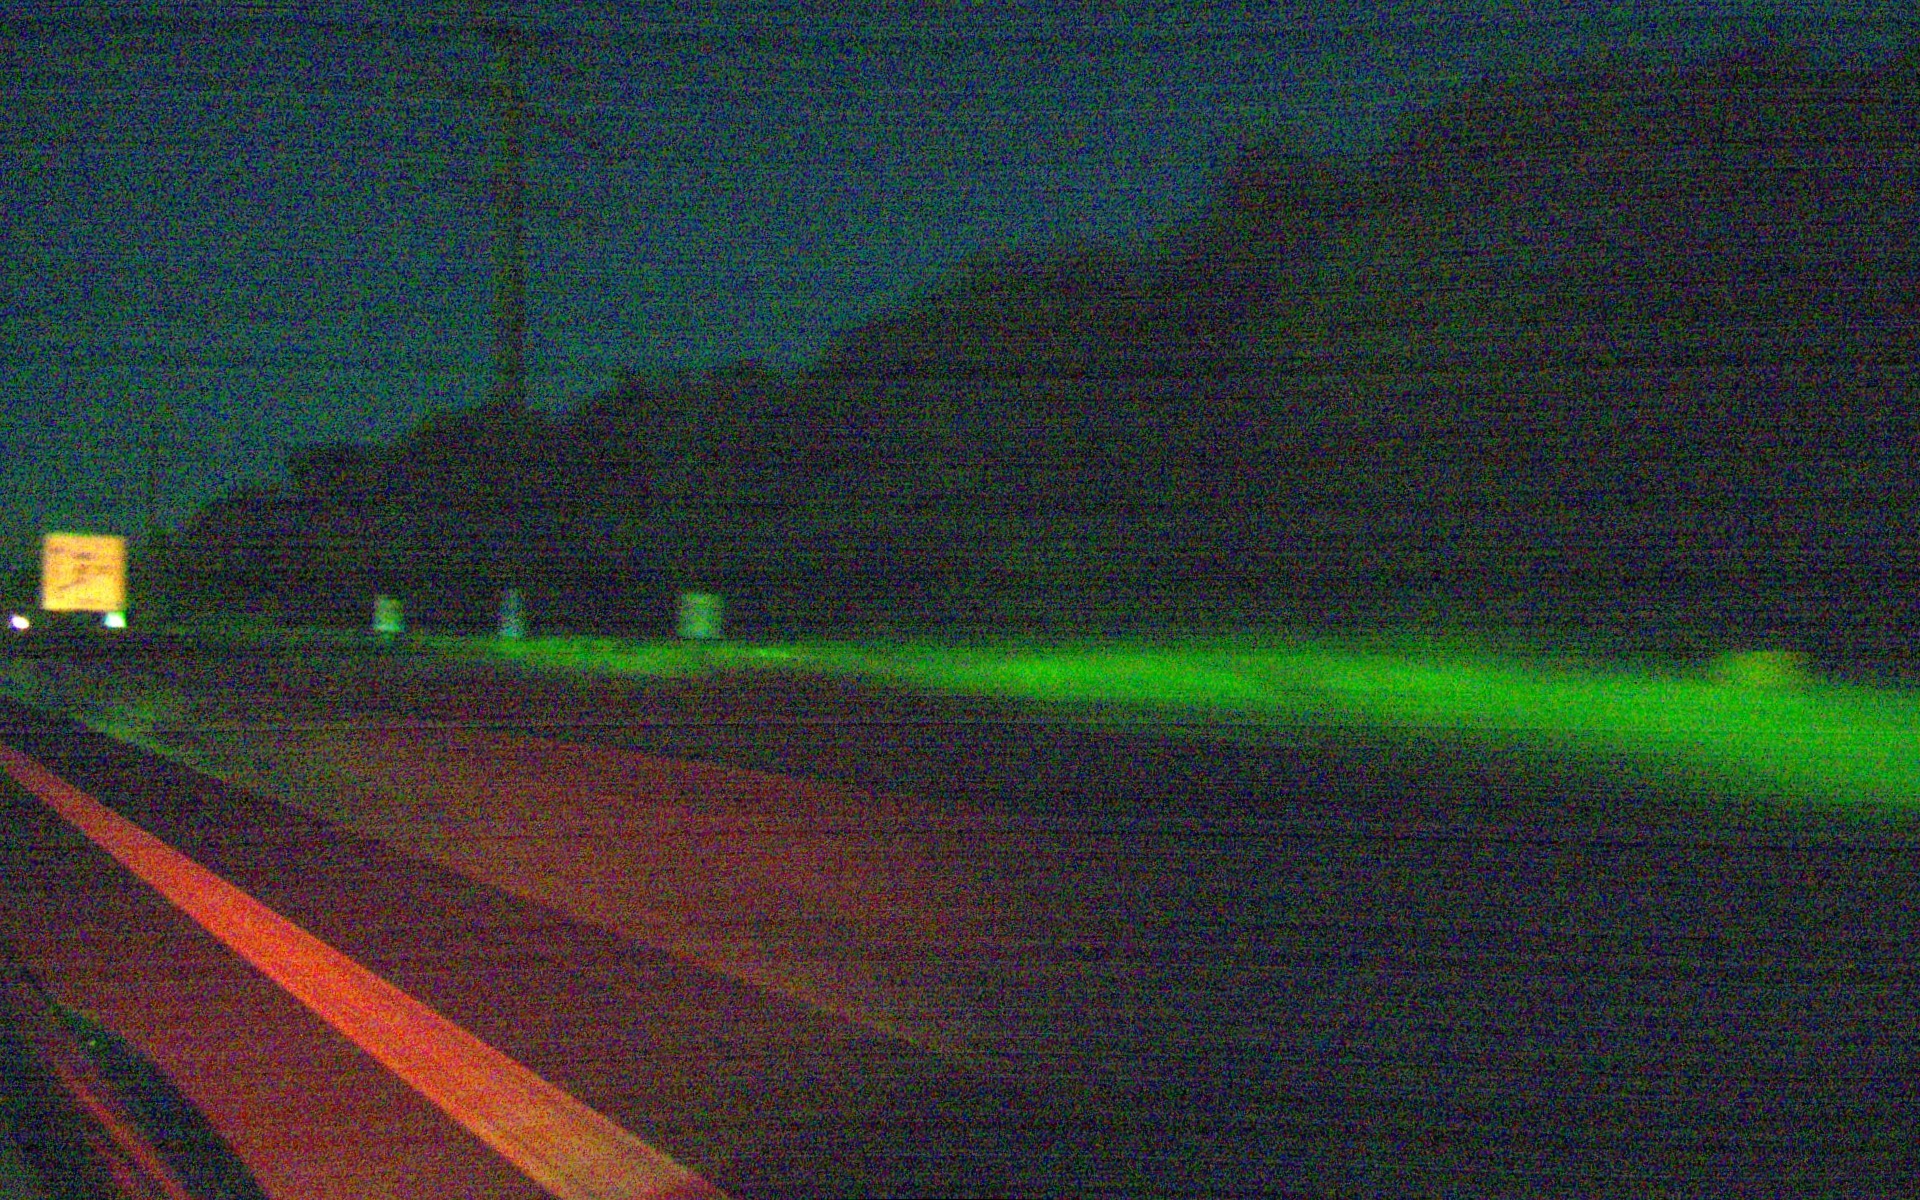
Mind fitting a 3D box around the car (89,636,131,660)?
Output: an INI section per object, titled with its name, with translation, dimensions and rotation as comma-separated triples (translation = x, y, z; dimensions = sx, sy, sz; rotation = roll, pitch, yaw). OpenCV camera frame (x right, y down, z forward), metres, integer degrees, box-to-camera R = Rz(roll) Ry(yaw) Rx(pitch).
[car]
translation = -62.773, 3.515, 74.725
dimensions = 4.468, 1.563, 1.621
rotation = 0, 1, 41
